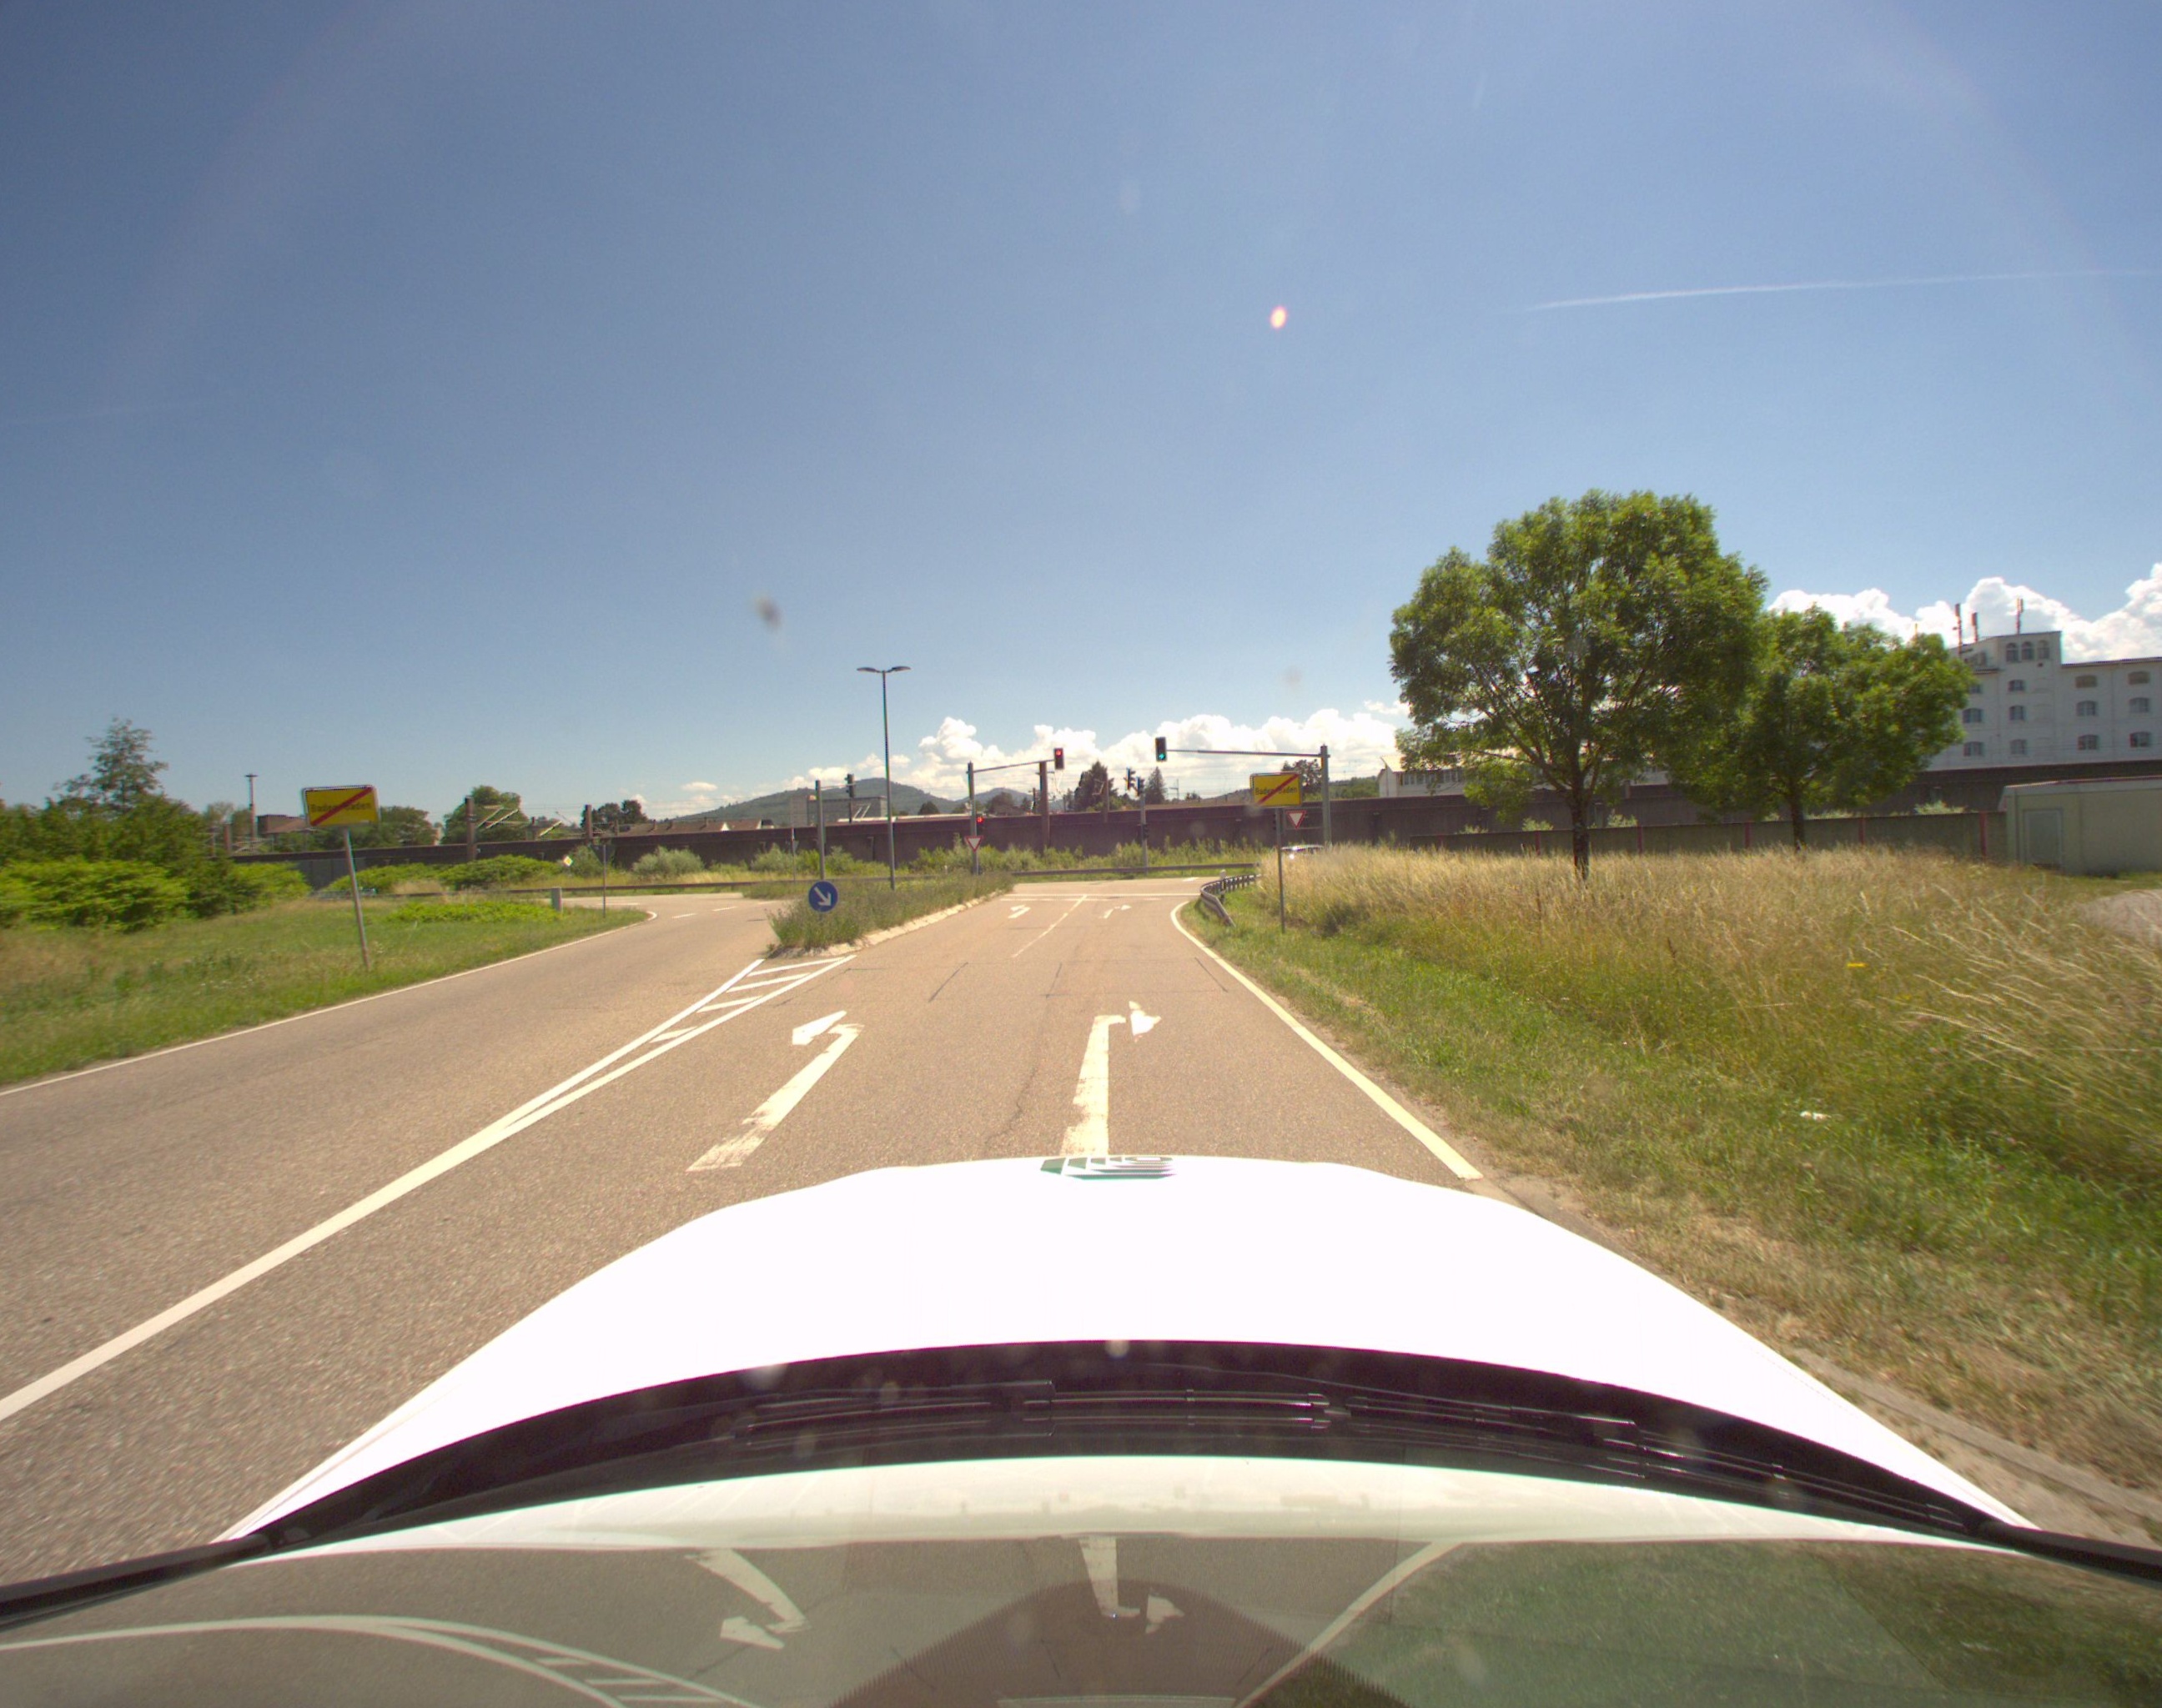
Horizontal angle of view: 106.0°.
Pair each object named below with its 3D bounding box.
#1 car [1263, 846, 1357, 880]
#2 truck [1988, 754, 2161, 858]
[{"bbox_3d":[10.921,0.411,38.904,4.007,1.503,1.983,-1,0,-26],"label":"car"},{"bbox_3d":[46.719,-2.068,34.474,11.695,4.180,3.014,-2,-1,10],"label":"truck"}]
